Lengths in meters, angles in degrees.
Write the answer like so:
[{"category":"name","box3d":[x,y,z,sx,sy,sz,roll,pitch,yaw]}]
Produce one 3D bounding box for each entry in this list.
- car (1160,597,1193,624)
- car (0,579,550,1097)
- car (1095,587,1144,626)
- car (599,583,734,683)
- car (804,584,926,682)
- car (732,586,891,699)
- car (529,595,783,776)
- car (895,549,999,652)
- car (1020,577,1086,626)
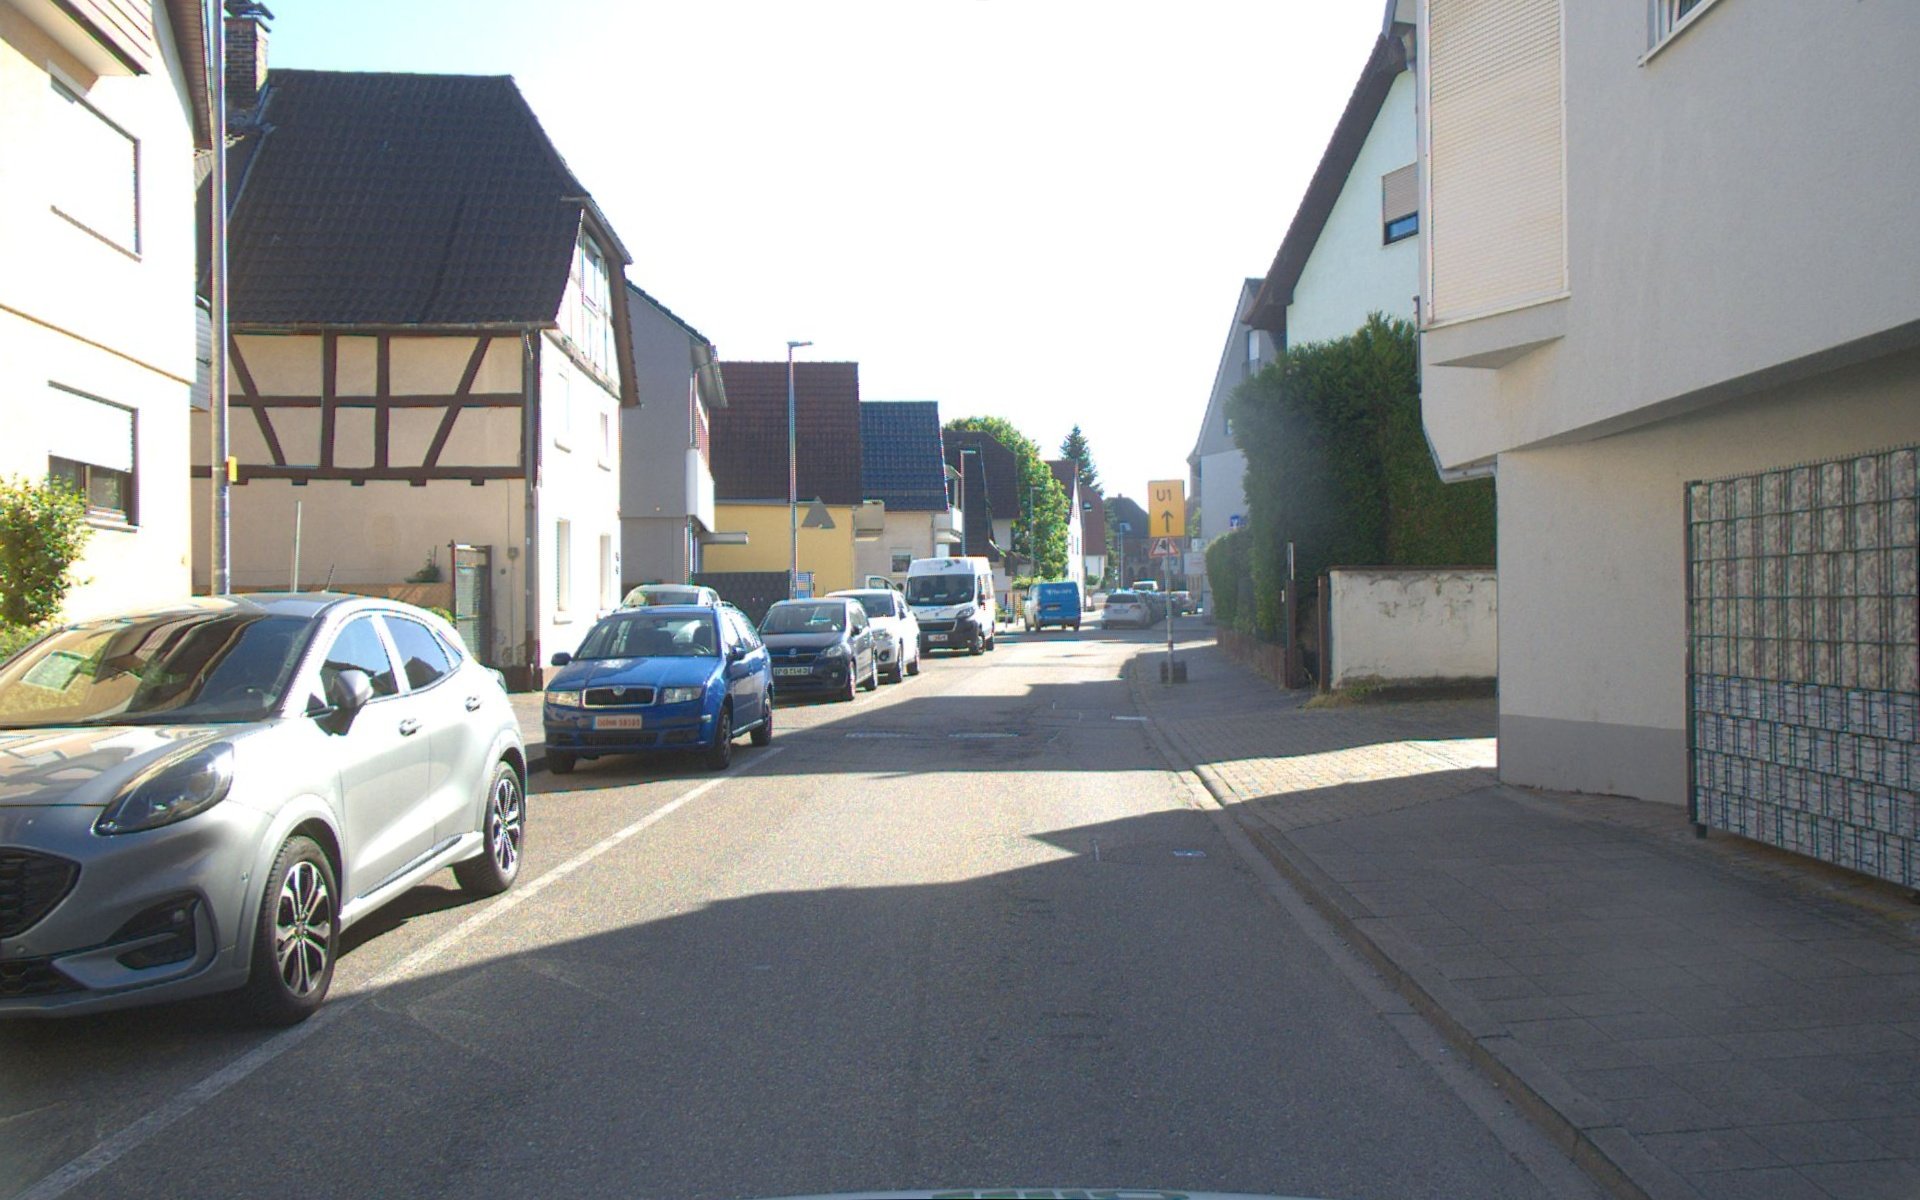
[{"category":"car","box3d":[13.729,0.682,104.713,1.889,1.598,4.003,1,-2,10]},{"category":"car","box3d":[-3.078,0.713,6.980,1.639,1.532,4.094,-1,0,0]},{"category":"car","box3d":[6.485,0.289,67.587,1.806,1.437,4.001,2,-2,3]},{"category":"car","box3d":[-5.181,0.530,29.652,1.686,1.624,4.016,2,1,0]},{"category":"car","box3d":[-1.643,0.540,29.801,1.638,1.599,3.968,-2,0,4]},{"category":"car","box3d":[-2.187,0.603,25.410,1.667,1.545,4.124,-2,0,5]},{"category":"car","box3d":[-2.754,0.722,15.814,1.605,1.466,4.075,-1,0,1]},{"category":"car","box3d":[-0.263,0.020,42.852,2.033,2.436,5.212,-2,0,6]},{"category":"car","box3d":[3.693,0.035,66.236,1.883,1.833,4.774,-2,1,-6]}]
